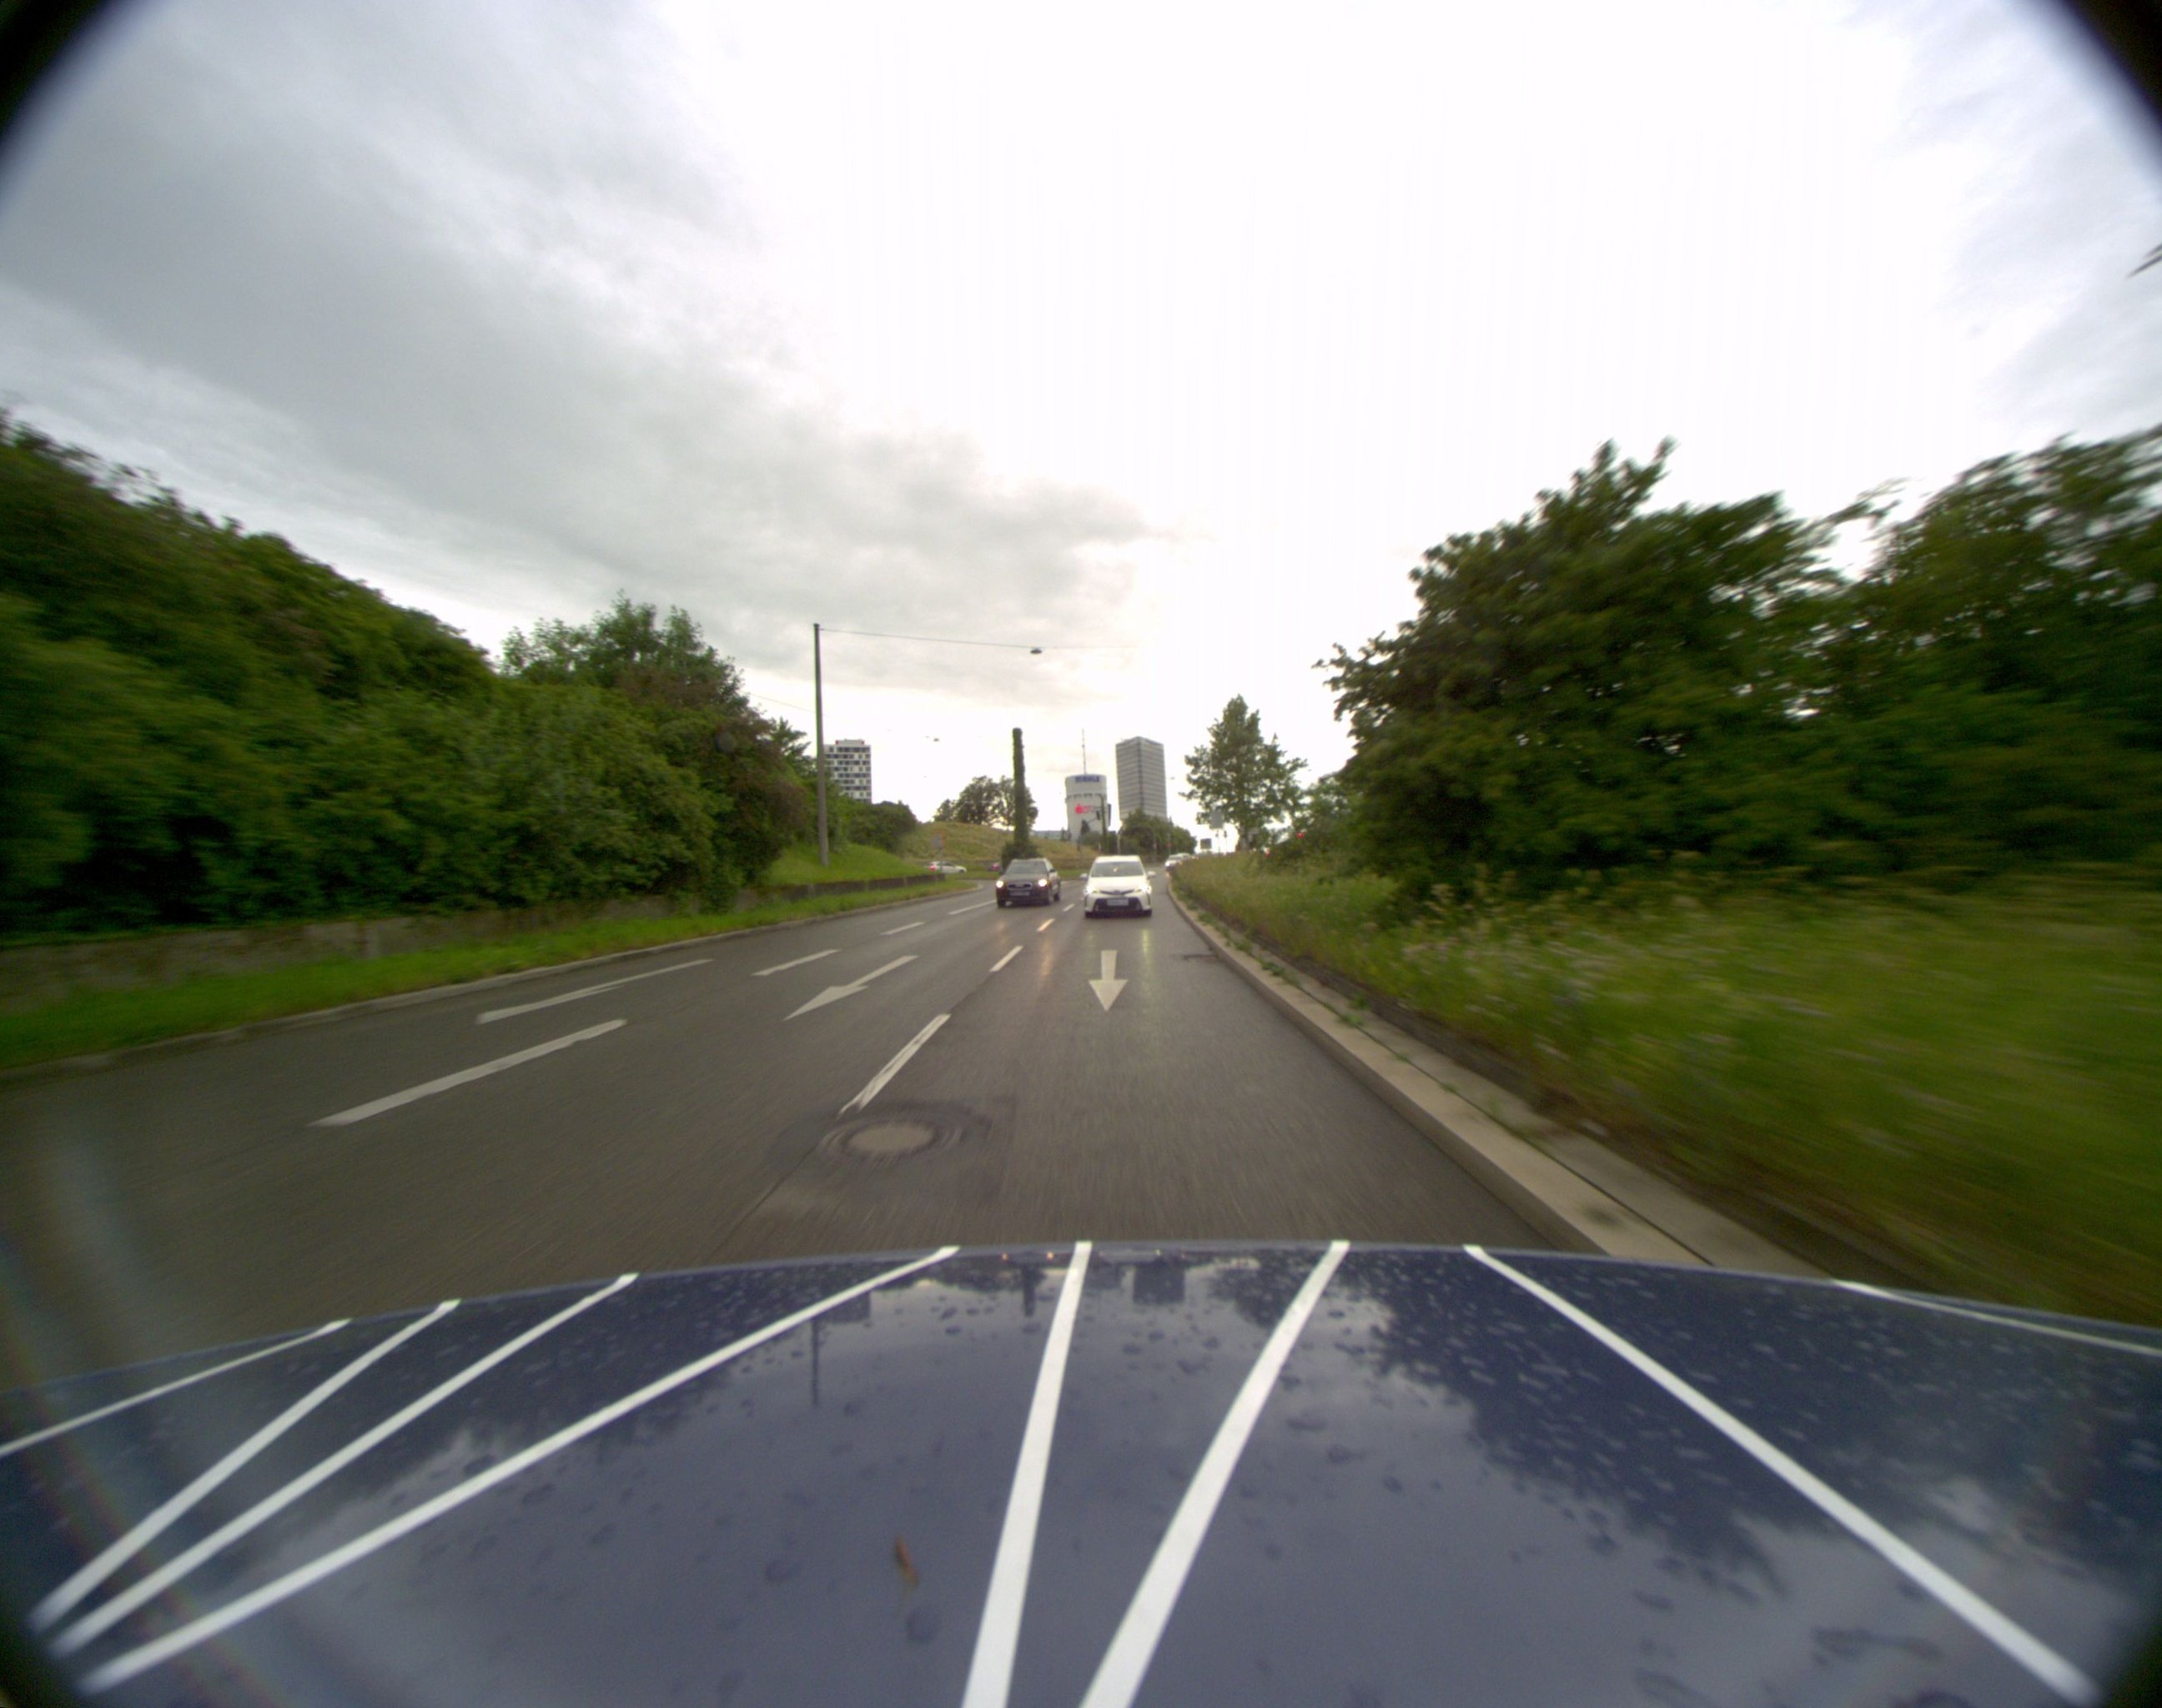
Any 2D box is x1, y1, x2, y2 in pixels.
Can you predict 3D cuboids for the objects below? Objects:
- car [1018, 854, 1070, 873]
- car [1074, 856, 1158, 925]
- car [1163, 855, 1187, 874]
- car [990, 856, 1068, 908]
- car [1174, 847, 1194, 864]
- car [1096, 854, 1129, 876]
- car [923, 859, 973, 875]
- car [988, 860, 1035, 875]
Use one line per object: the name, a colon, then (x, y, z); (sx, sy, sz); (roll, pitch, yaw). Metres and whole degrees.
car: (-3.708, 0.964, 76.892); (4.999, 1.636, 2.070); (-3, 0, -40)
car: (1.087, 0.920, 21.053); (1.923, 1.604, 4.377); (-3, 0, 7)
car: (9.091, 0.998, 73.250); (1.997, 1.761, 4.004); (0, -1, 11)
car: (-1.733, 0.917, 26.991); (1.926, 1.591, 4.281); (-2, 0, 7)
car: (11.565, 0.109, 84.985); (1.997, 1.761, 4.003); (-3, 0, 9)
car: (2.127, 0.739, 52.737); (1.846, 1.377, 3.999); (-3, 0, -3)
car: (-12.765, 1.246, 73.173); (4.280, 1.419, 2.070); (0, -2, -42)
car: (-7.171, 1.389, 78.290); (4.563, 1.342, 1.839); (0, -2, -41)
